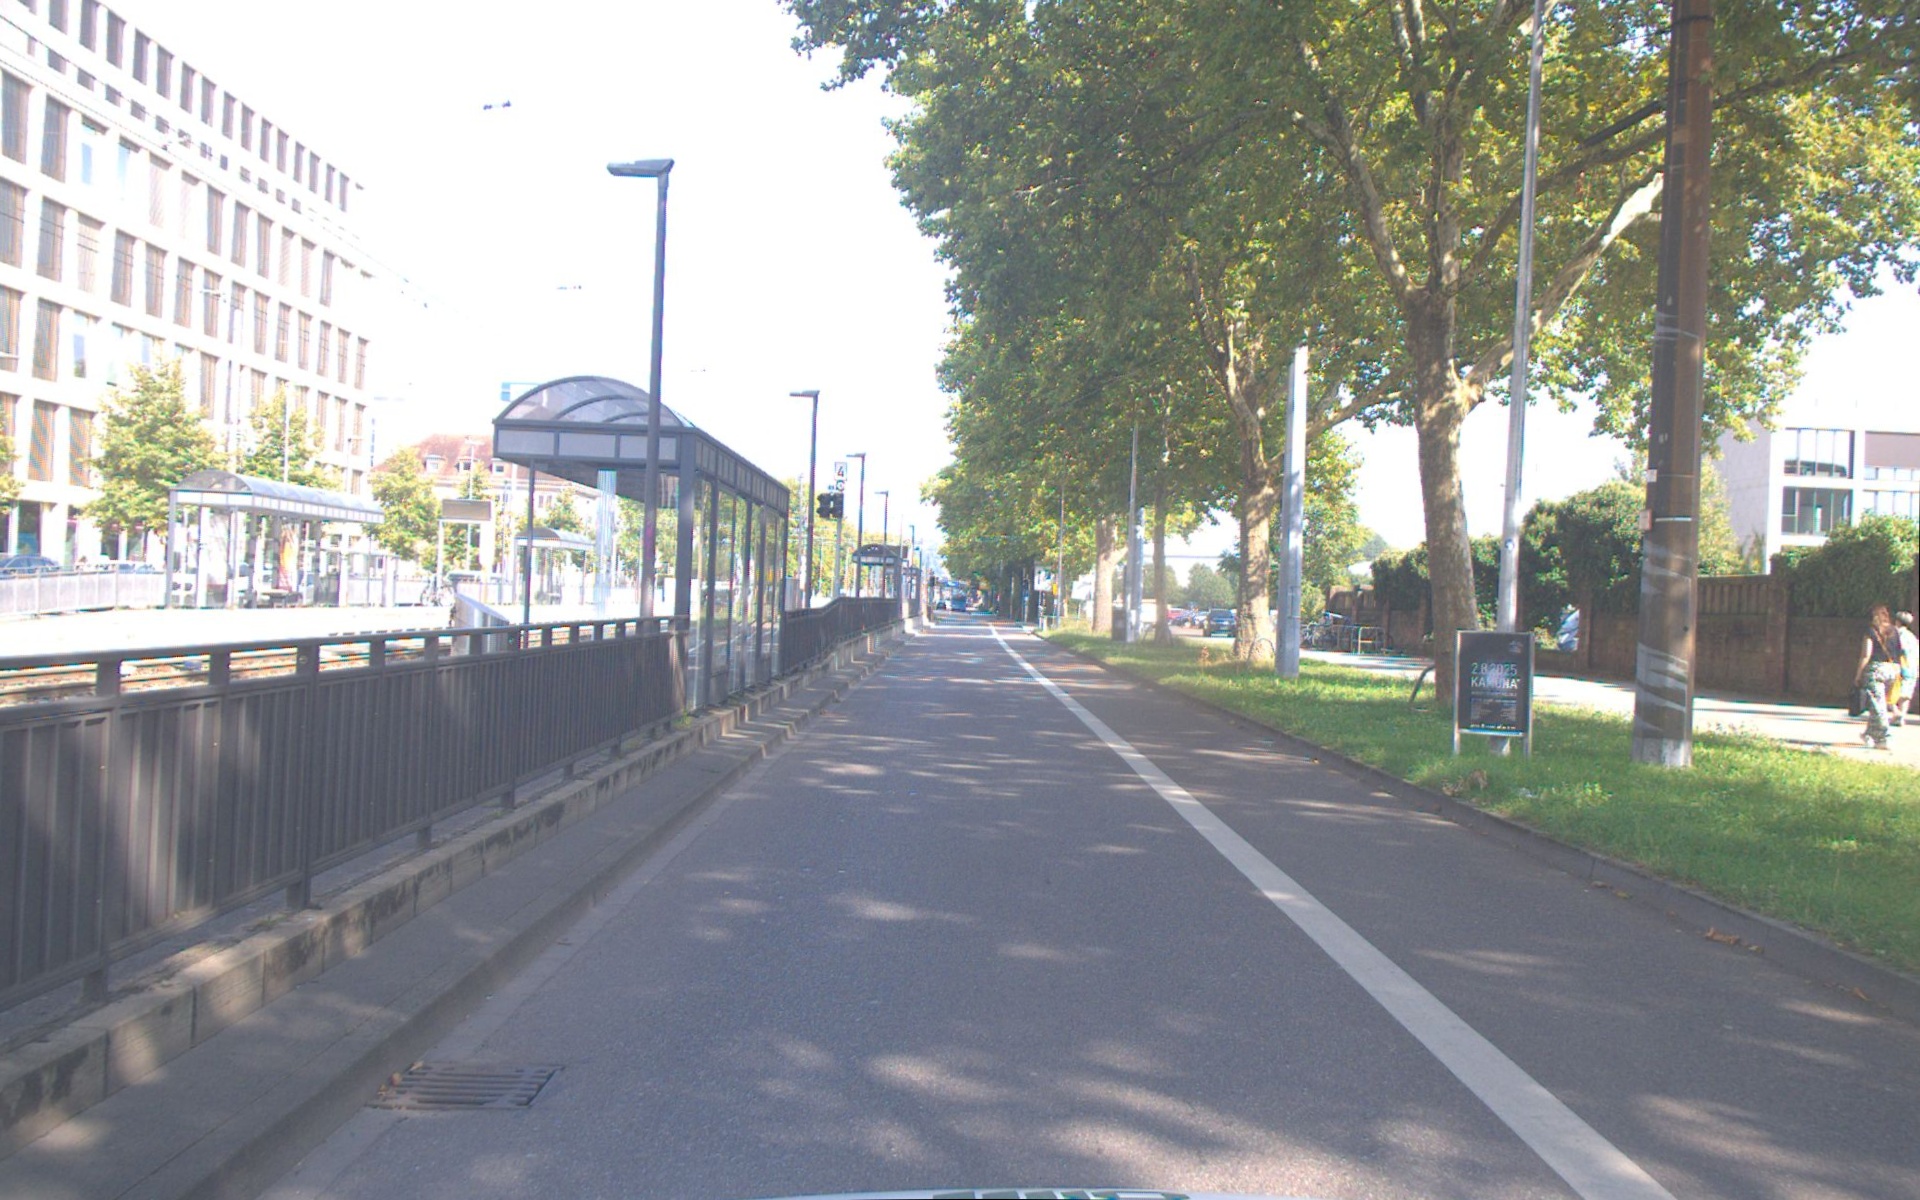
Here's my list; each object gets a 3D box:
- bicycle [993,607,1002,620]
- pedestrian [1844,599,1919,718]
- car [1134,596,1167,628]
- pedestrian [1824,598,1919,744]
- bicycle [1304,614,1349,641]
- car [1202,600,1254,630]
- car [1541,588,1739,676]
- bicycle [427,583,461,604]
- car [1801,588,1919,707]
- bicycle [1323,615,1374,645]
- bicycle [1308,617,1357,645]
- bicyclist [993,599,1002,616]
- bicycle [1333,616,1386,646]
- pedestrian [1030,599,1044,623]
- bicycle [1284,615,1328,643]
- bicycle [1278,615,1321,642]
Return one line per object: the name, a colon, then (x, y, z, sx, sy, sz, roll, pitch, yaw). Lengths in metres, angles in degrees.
bicycle: (3.422, 1.233, 151.558, 0.700, 1.127, 2.509, 3, 0, 0)
pedestrian: (13.118, 0.806, 23.313, 0.789, 1.632, 0.947, 1, 0, 0)
car: (12.928, 0.780, 112.674, 1.686, 2.084, 4.461, 2, 0, 0)
pedestrian: (10.830, 0.818, 19.501, 0.789, 1.665, 0.947, 1, 0, 0)
bicycle: (14.015, 1.044, 63.235, 1.622, 0.986, 0.506, 0, 0, 2)
car: (16.151, 0.899, 99.520, 1.689, 1.708, 4.242, 2, 0, 29)
car: (20.315, 0.946, 49.619, 5.024, 2.410, 2.131, 2, 0, 4)
bicycle: (-16.803, -0.203, 53.892, 0.467, 0.674, 1.614, 2, 0, 4)
car: (20.501, 1.063, 34.711, 4.567, 2.358, 2.055, 3, -1, 0)
bicycle: (13.103, 1.000, 55.859, 1.621, 0.986, 0.506, 0, 0, 5)
bicycle: (13.261, 1.106, 58.902, 1.621, 0.986, 0.506, 0, 0, 5)
bicyclist: (3.449, 0.703, 151.511, 0.691, 1.486, 1.009, 3, -1, 0)
bicycle: (13.256, 1.022, 54.888, 1.622, 0.986, 0.506, 0, 0, 1)
pedestrian: (5.409, 0.772, 116.125, 0.614, 1.645, 0.841, 2, 0, 37)
bicycle: (12.832, 1.075, 61.420, 0.502, 0.986, 1.636, 0, 0, -41)
bicycle: (12.786, 1.086, 62.338, 0.502, 0.986, 1.636, 0, 0, -41)
